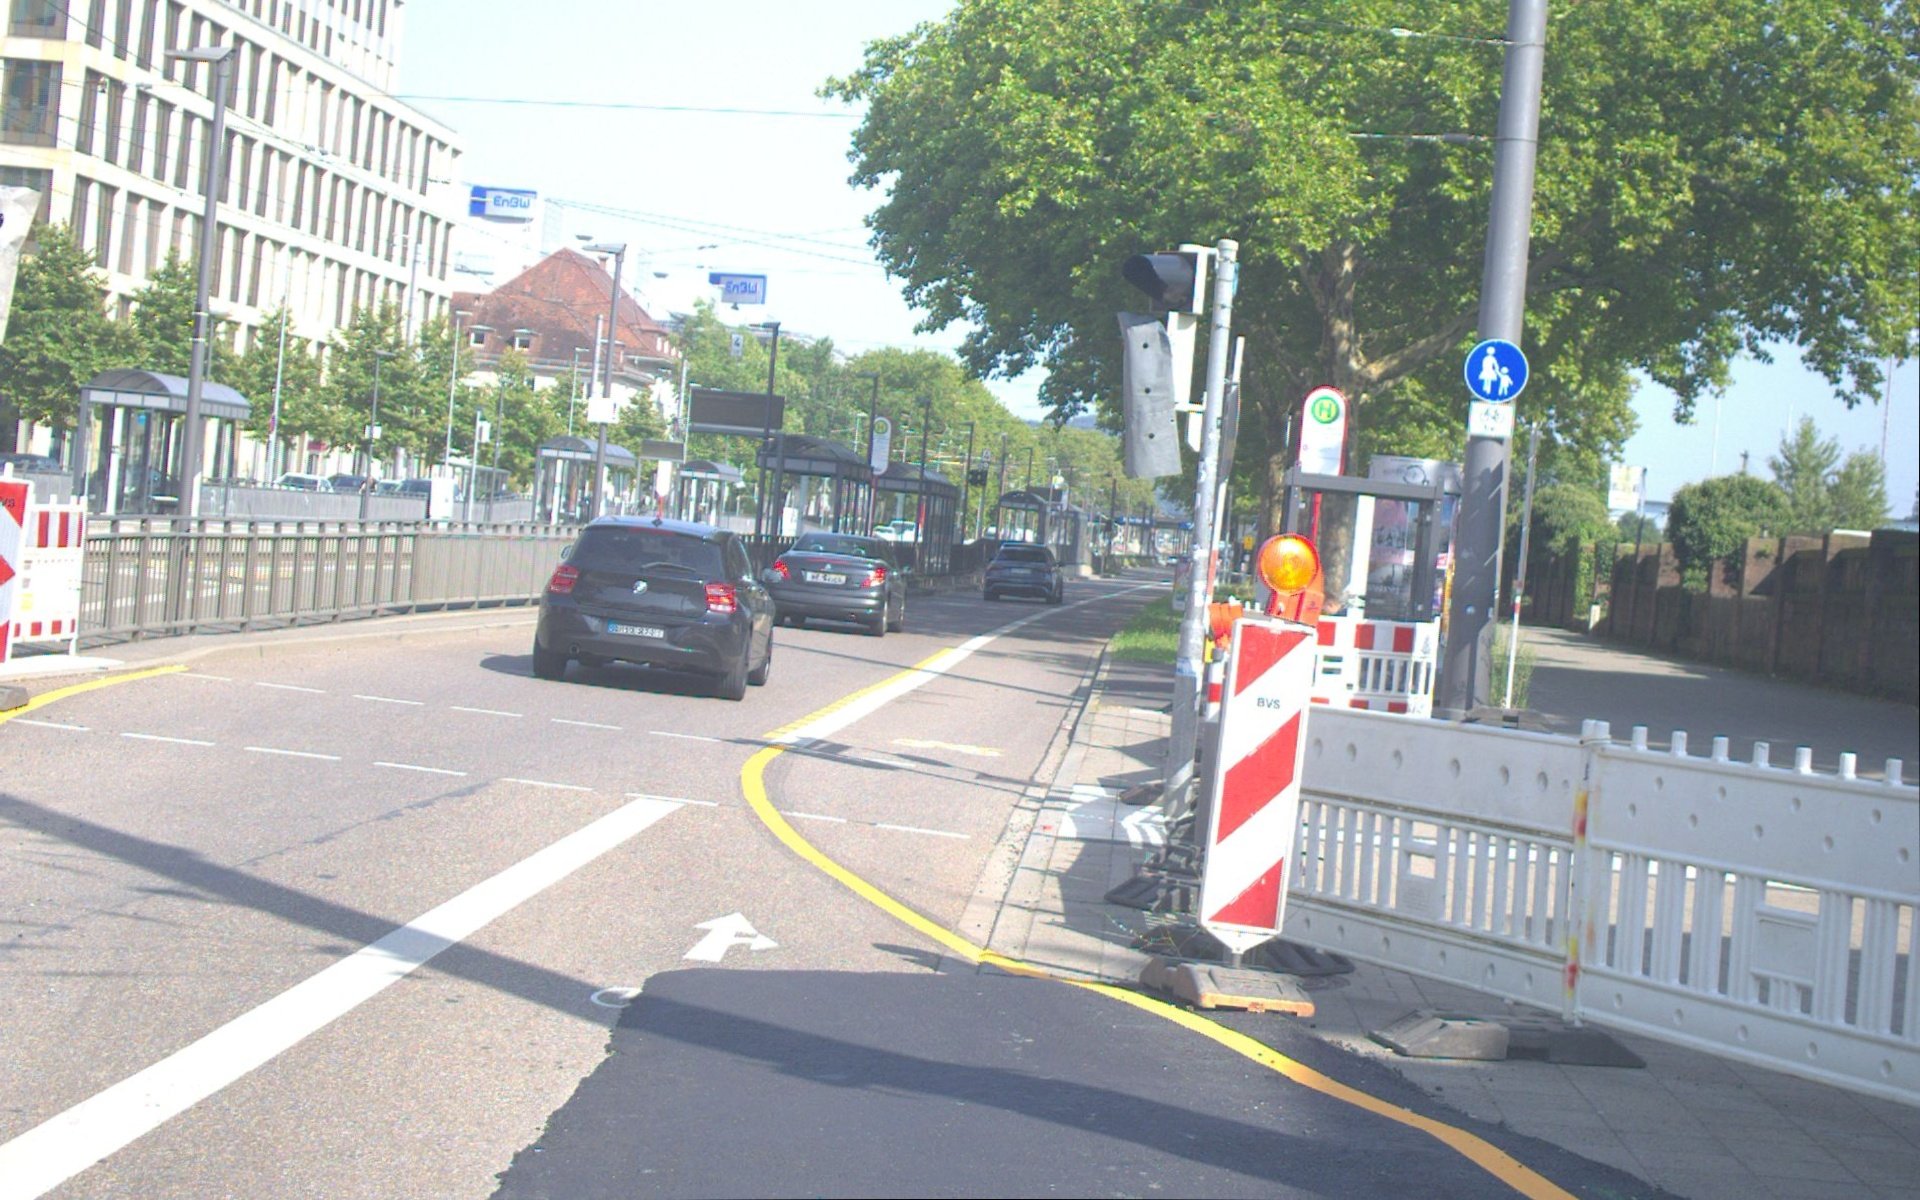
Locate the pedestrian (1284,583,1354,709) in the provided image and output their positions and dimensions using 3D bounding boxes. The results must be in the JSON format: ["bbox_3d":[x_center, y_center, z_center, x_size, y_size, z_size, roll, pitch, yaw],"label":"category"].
[{"bbox_3d":[3.784,0.475,36.300,0.608,1.273,0.759,3,1,2],"label":"pedestrian"}]

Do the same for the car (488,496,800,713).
[{"bbox_3d":[-2.643,0.006,29.665,1.908,1.532,4.000,7,1,4],"label":"car"}]

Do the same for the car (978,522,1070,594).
[{"bbox_3d":[1.605,-1.035,84.918,1.908,1.532,3.999,7,1,4],"label":"car"}]

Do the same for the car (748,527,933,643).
[{"bbox_3d":[-1.675,-0.226,49.607,1.994,1.436,3.999,5,1,7],"label":"car"}]

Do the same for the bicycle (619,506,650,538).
[{"bbox_3d":[-12.432,-2.966,131.296,0.471,1.143,1.482,6,1,19],"label":"bicycle"}]
